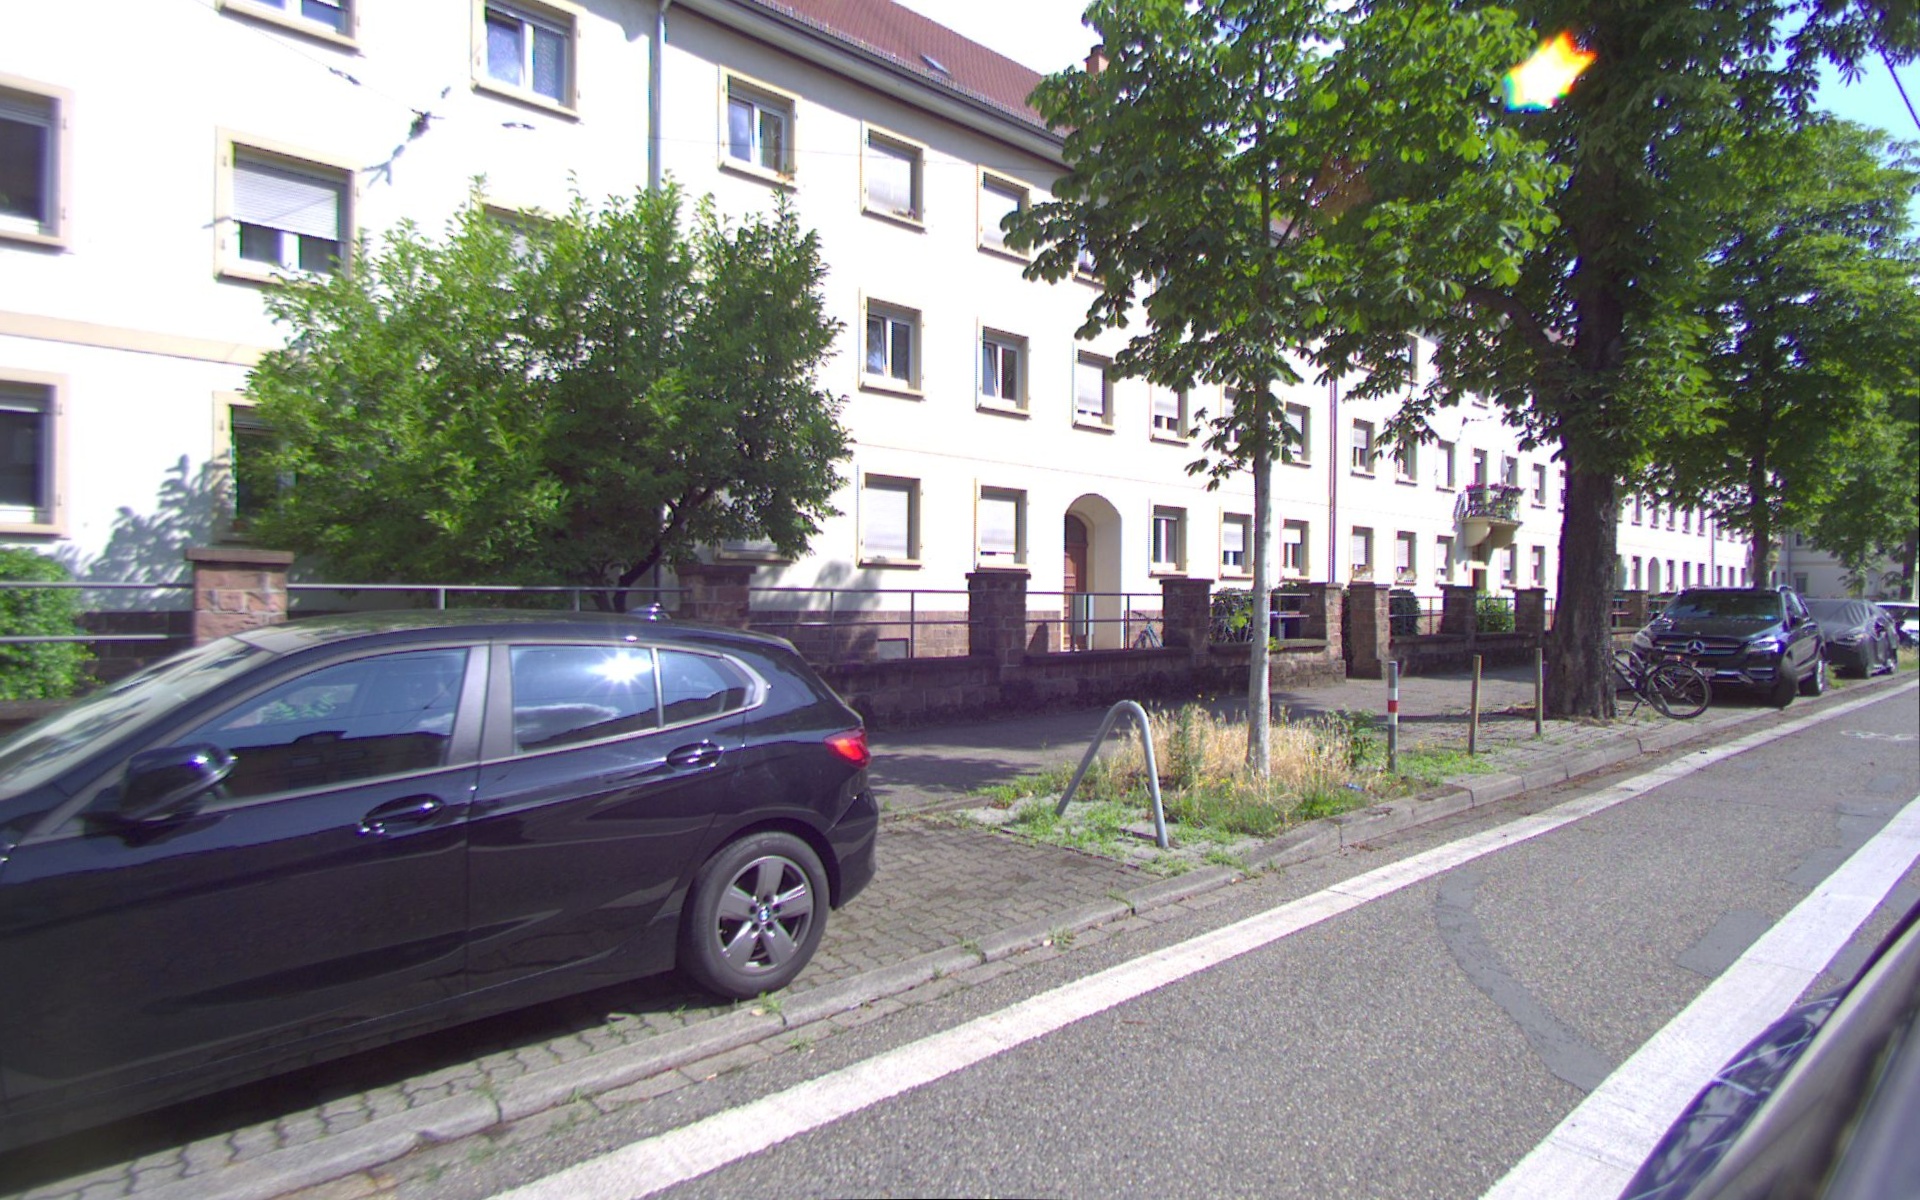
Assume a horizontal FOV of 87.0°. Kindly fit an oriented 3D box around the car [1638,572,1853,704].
[{"bbox_3d":[12.543,0.523,16.047,4.650,1.805,1.830,1,0,-41],"label":"car"}]

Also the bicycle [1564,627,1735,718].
[{"bbox_3d":[8.822,0.893,13.000,0.626,1.020,1.712,0,0,-39],"label":"bicycle"}]

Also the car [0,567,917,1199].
[{"bbox_3d":[-2.300,0.697,3.456,4.123,1.498,1.708,0,-2,-41],"label":"car"}]

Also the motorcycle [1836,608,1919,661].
[{"bbox_3d":[24.698,0.911,26.971,0.735,1.354,2.008,0,0,-44],"label":"motorcycle"}]

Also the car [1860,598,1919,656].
[{"bbox_3d":[27.738,0.736,29.501,4.175,1.601,1.744,0,0,-42],"label":"car"}]

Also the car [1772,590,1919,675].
[{"bbox_3d":[19.595,0.644,22.330,4.556,1.674,1.866,0,0,-41],"label":"car"}]

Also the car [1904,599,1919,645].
[{"bbox_3d":[34.197,0.747,35.170,4.213,1.540,1.663,0,0,-42],"label":"car"}]

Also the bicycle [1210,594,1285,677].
[{"bbox_3d":[4.529,0.538,15.910,1.431,1.260,0.305,0,0,-36],"label":"bicycle"}]
